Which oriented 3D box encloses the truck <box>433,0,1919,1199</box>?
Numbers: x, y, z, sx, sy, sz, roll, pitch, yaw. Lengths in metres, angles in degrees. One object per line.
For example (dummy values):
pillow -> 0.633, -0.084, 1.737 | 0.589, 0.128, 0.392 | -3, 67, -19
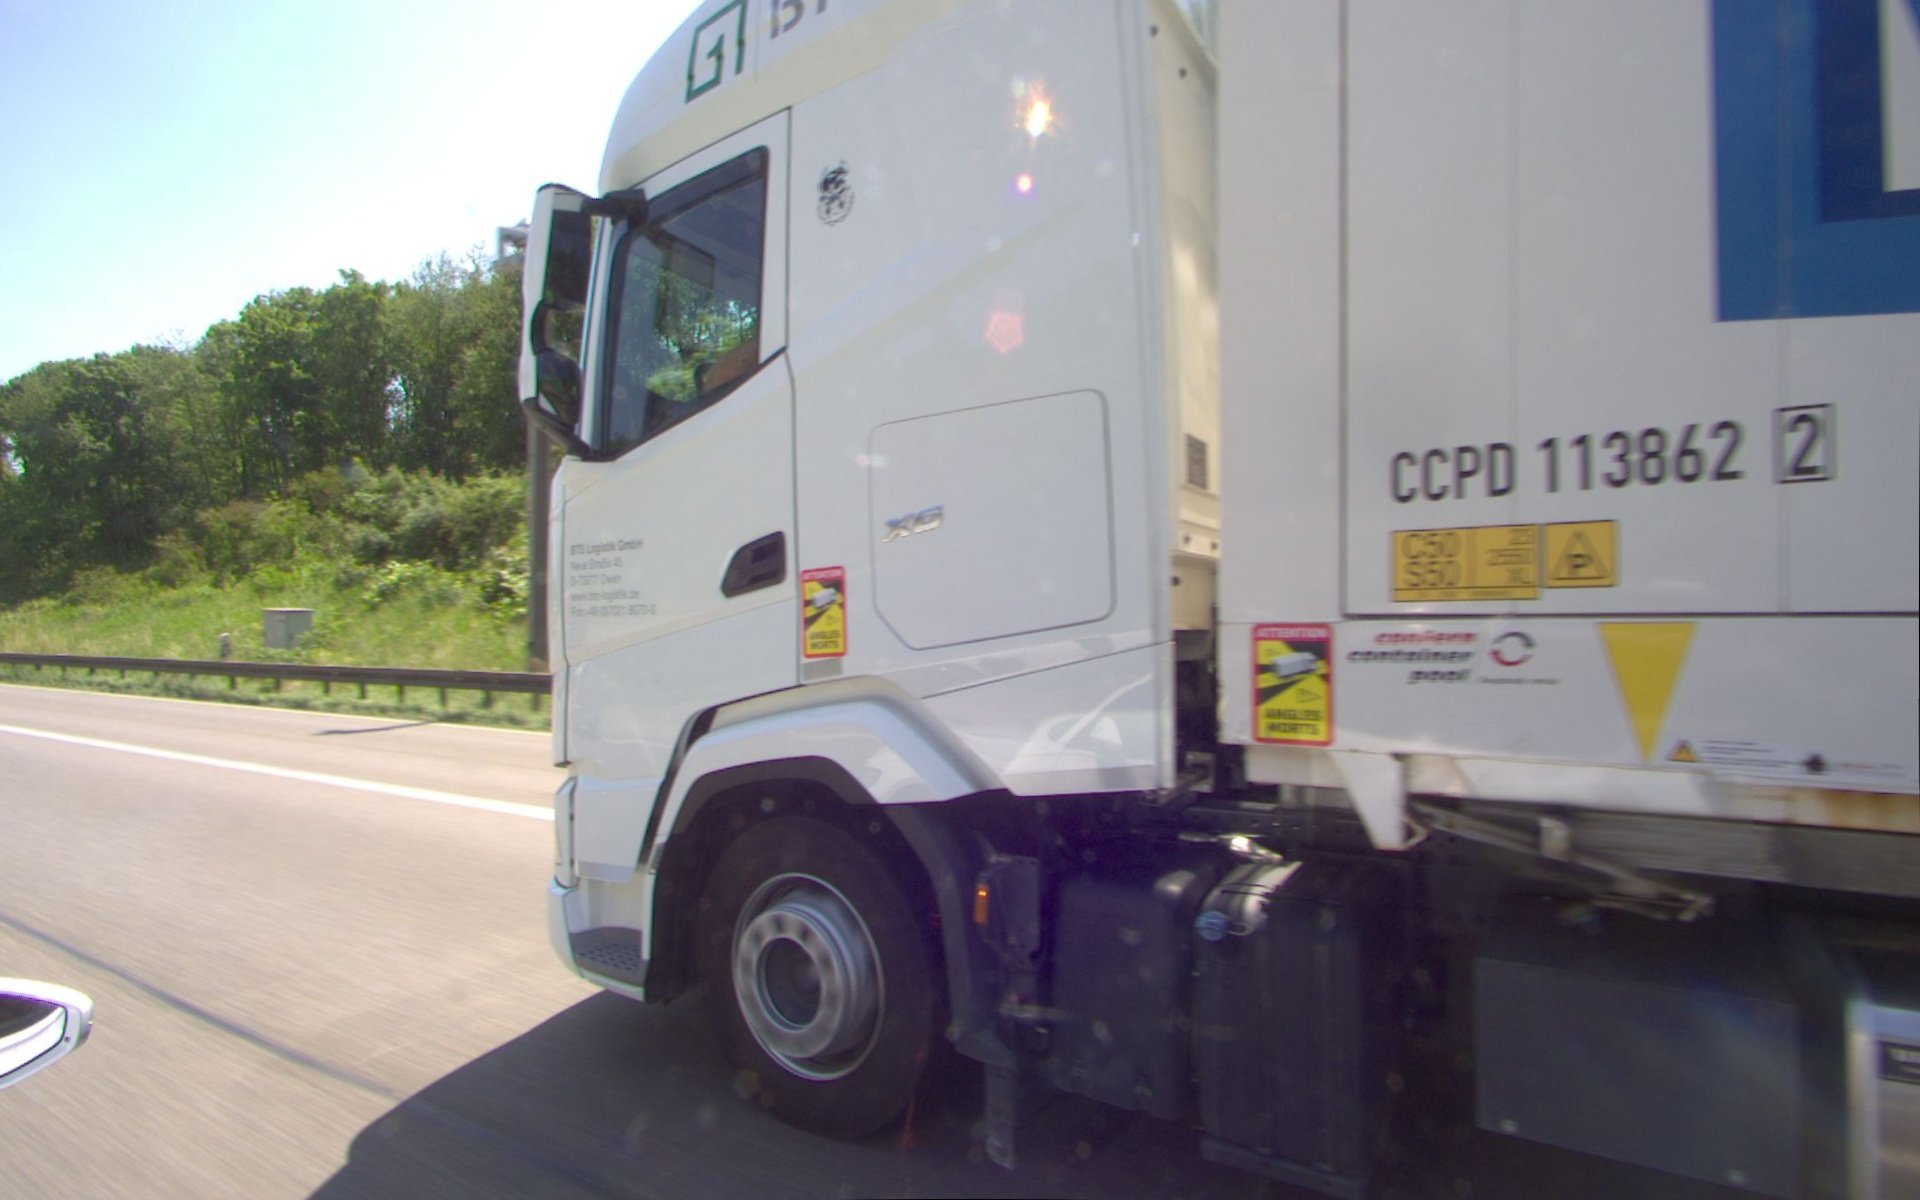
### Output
truck -> 3.320, -0.629, 1.904 | 10.469, 4.112, 2.676 | 1, 0, 32
